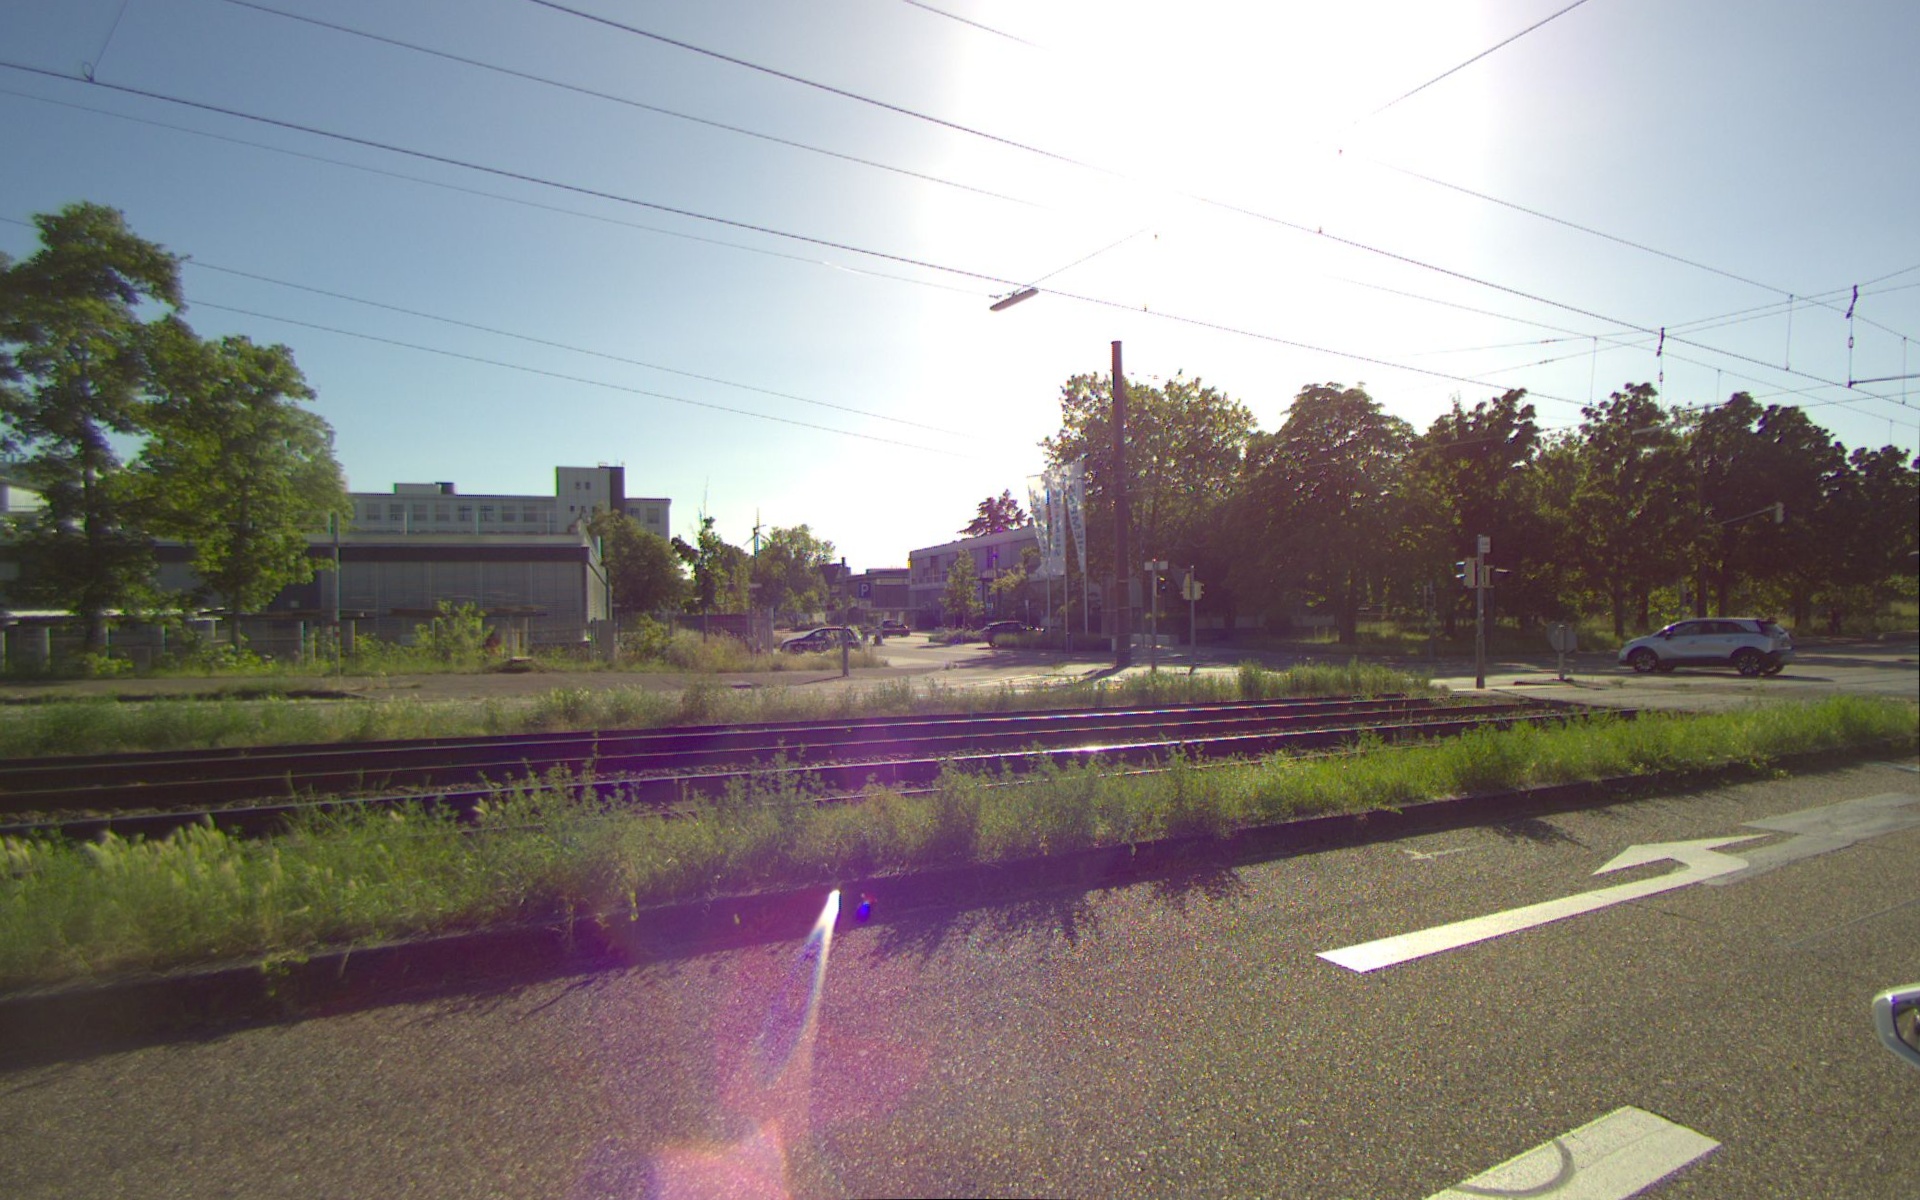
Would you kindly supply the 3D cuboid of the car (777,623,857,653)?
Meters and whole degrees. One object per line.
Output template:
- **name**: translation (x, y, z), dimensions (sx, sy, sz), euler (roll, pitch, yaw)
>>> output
- **car**: translation (-7.382, 1.931, 51.825), dimensions (3.806, 1.453, 1.687), euler (1, 0, -23)

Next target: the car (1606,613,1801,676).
- **car**: translation (21.472, 1.232, 29.164), dimensions (1.838, 1.628, 4.213), euler (1, 0, -35)

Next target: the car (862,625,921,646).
- **car**: translation (-4.915, 2.524, 71.911), dimensions (3.893, 1.471, 1.688), euler (1, 0, -21)

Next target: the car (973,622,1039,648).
- **car**: translation (2.838, 2.145, 61.832), dimensions (3.818, 1.508, 1.682), euler (1, 0, -32)

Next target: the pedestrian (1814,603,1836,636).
- **pedestrian**: translation (53.990, 1.193, 62.687), dimensions (0.853, 2.040, 0.835), euler (1, 0, -32)
